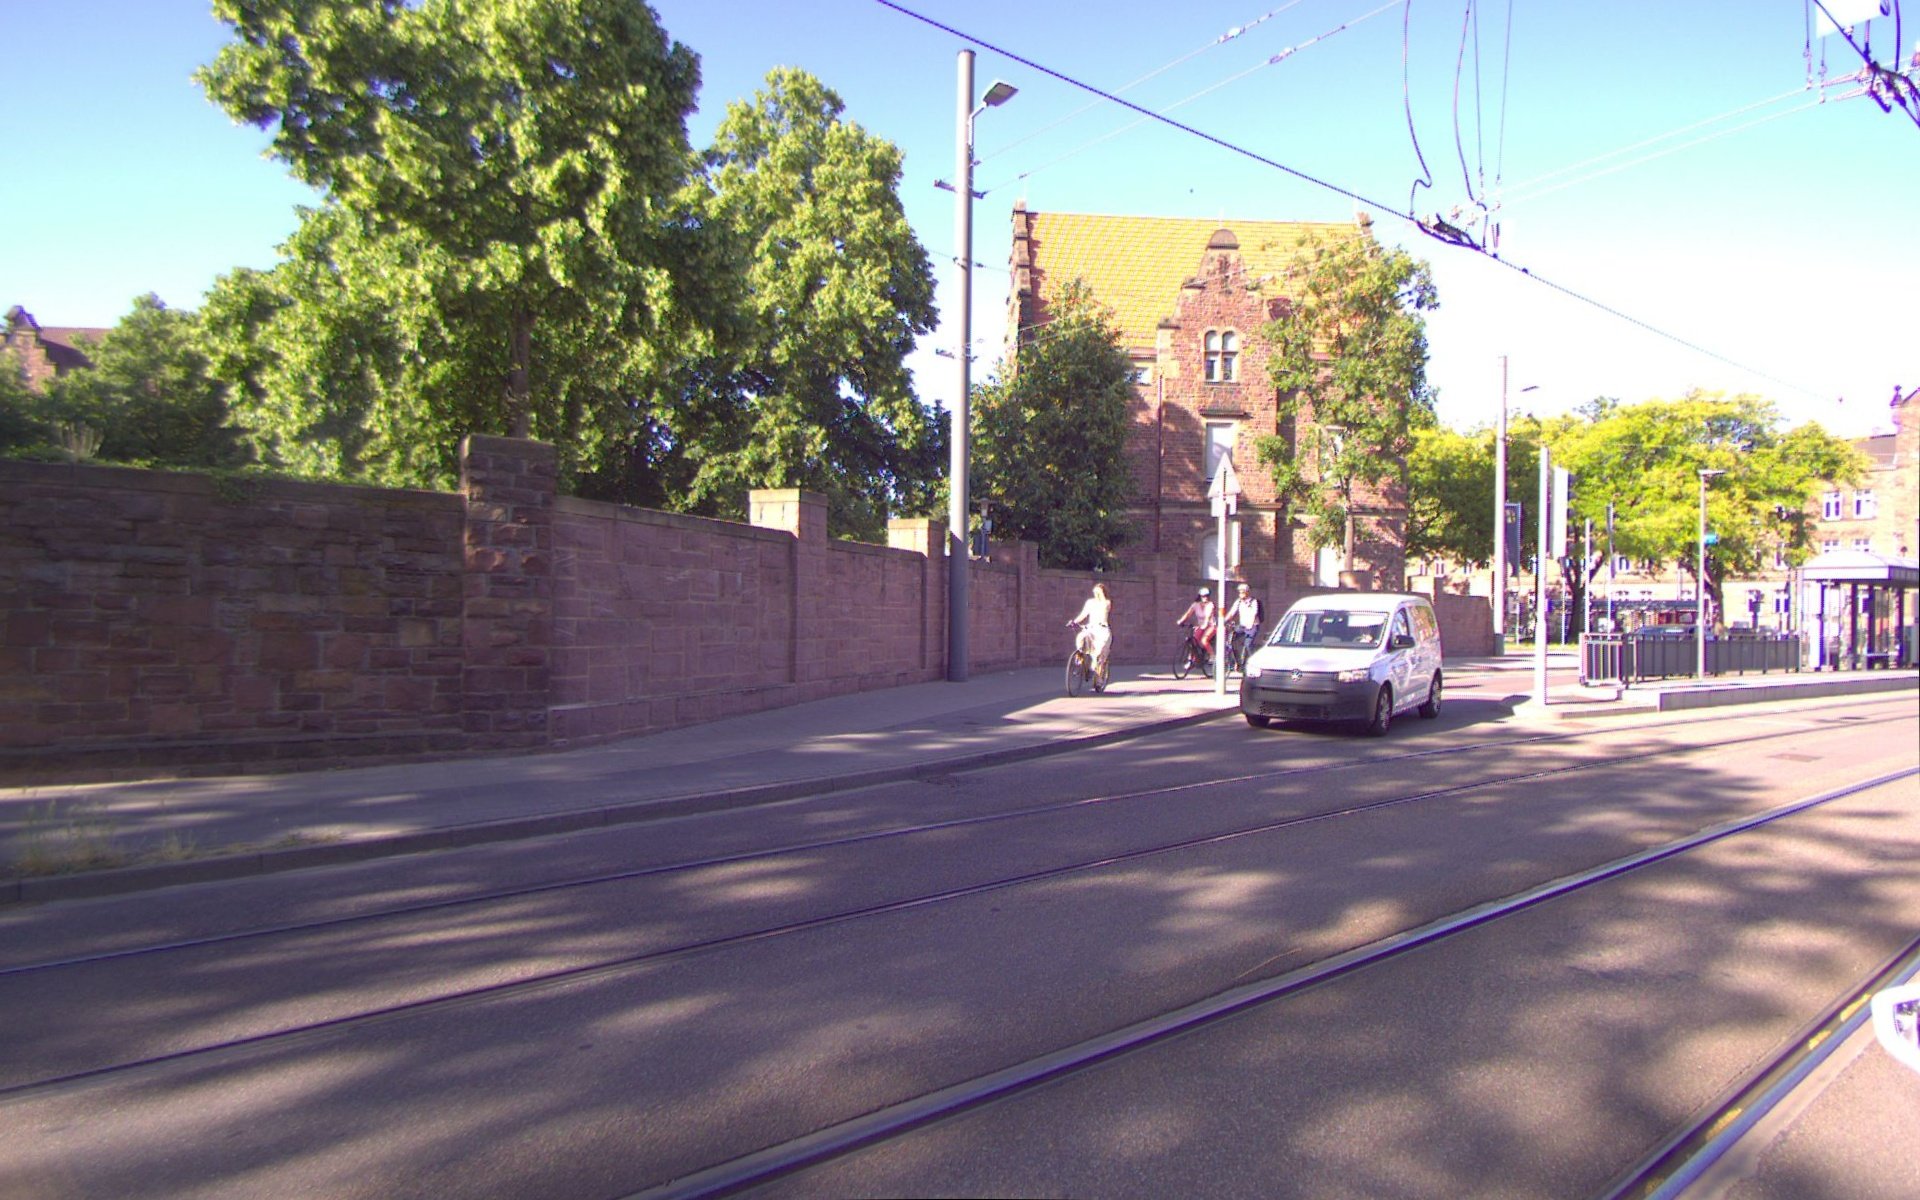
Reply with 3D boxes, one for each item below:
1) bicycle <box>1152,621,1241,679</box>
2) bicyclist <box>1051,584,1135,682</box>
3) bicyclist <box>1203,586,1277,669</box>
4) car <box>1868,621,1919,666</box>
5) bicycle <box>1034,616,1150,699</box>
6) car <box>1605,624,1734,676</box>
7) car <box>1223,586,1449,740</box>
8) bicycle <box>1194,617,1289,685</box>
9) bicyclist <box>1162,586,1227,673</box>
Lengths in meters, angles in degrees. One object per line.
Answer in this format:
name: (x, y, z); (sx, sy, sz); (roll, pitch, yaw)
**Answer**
bicycle: (4.827, 0.989, 20.398); (1.997, 1.087, 0.663); (1, 1, -39)
bicyclist: (2.132, 0.515, 16.031); (0.749, 1.490, 1.183); (2, 0, 45)
bicyclist: (5.455, 0.527, 19.556); (1.337, 1.557, 0.754); (1, -1, -41)
car: (37.554, 1.736, 39.531); (4.285, 1.638, 1.814); (2, -1, -36)
bicycle: (2.125, 0.890, 16.015); (0.807, 1.214, 1.940); (2, 0, 44)
car: (20.638, 1.409, 29.151); (4.452, 1.400, 1.785); (1, -2, -37)
car: (5.402, 0.784, 14.096); (1.804, 1.811, 4.238); (0, -1, 38)
bicycle: (5.505, 0.973, 19.581); (2.072, 1.247, 0.770); (1, -1, -41)
bicyclist: (4.742, 0.572, 20.303); (1.222, 1.697, 0.645); (0, 1, -38)
